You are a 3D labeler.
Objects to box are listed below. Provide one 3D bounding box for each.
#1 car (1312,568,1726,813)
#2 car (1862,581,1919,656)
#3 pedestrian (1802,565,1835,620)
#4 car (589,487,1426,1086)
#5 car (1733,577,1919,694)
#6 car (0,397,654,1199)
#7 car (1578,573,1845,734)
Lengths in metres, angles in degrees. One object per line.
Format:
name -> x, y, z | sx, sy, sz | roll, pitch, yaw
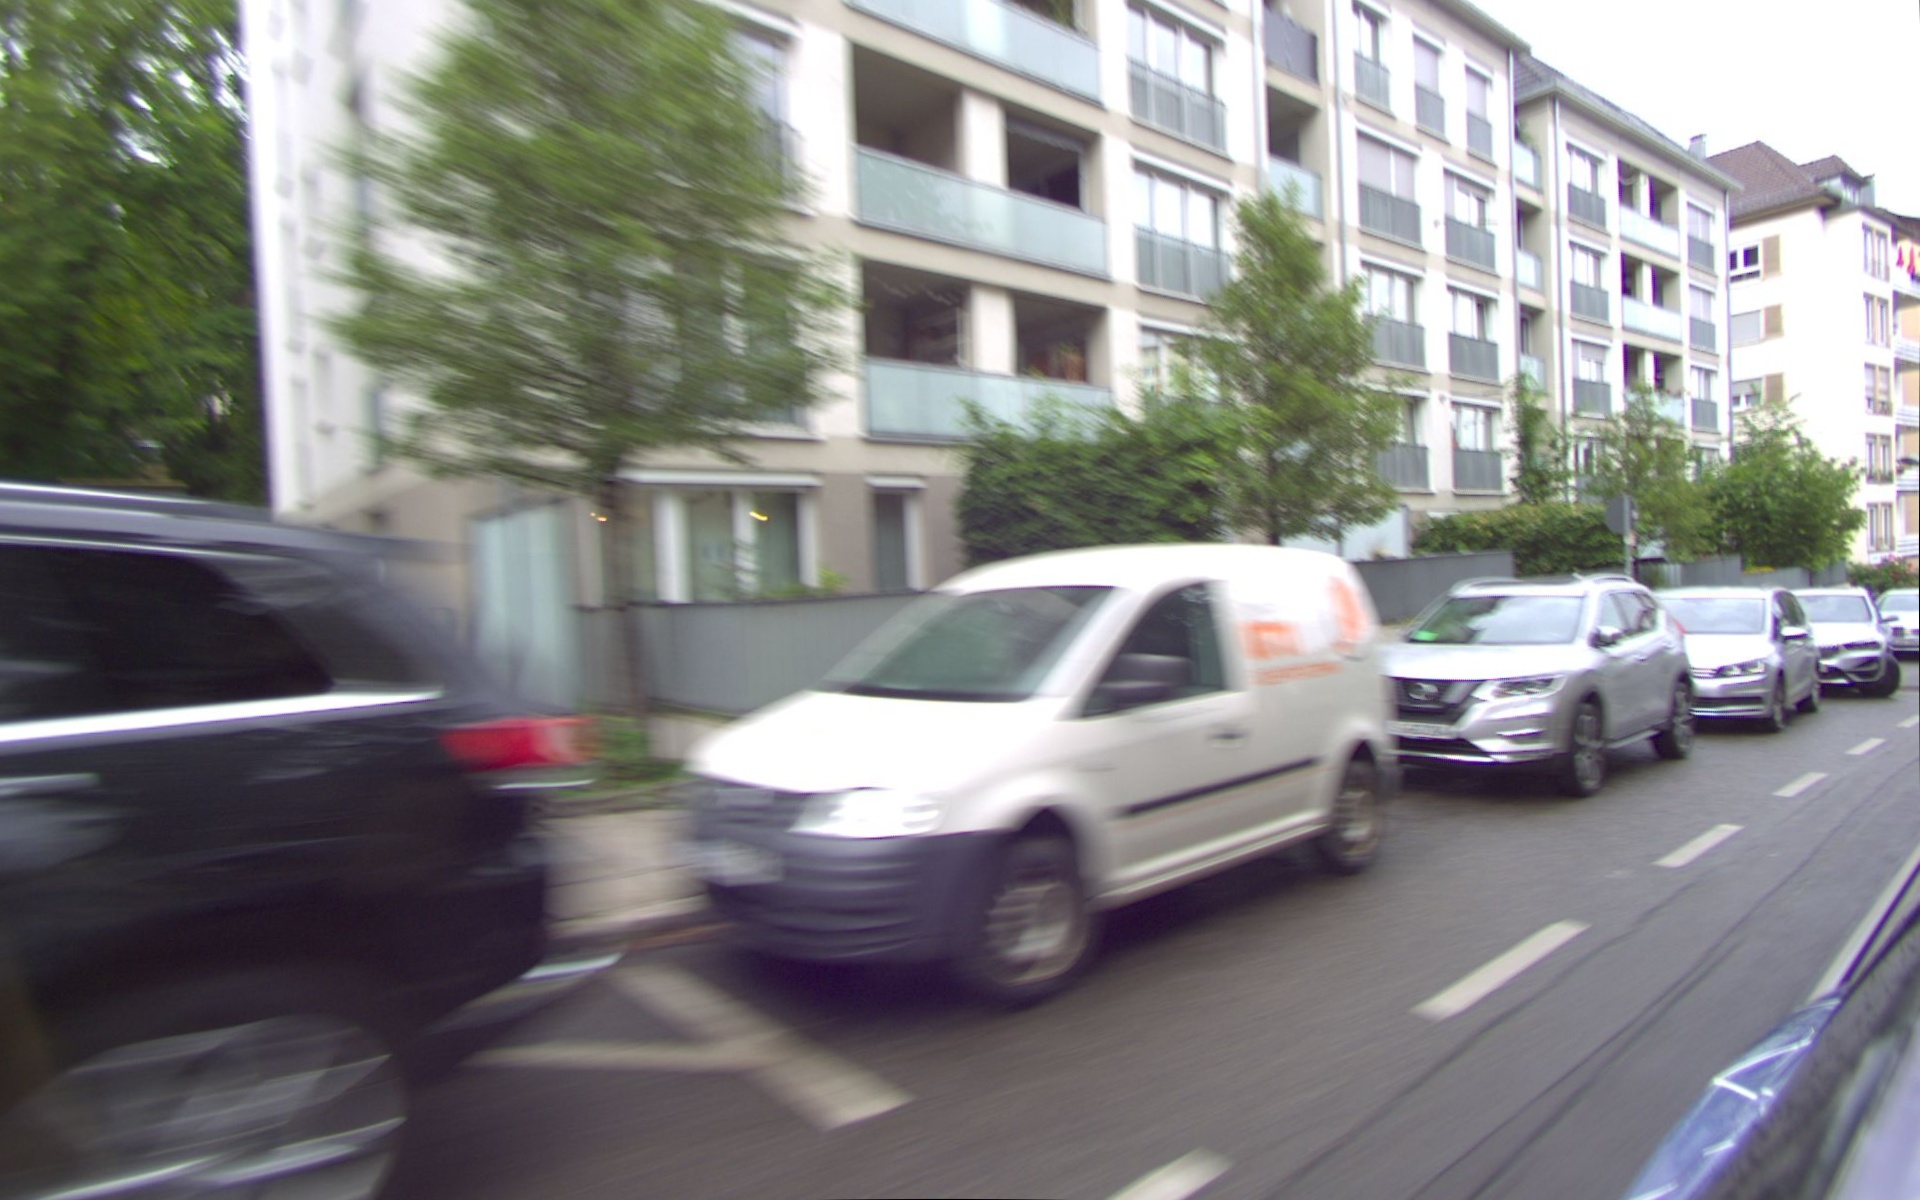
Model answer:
car -> 5.237, 0.588, 9.171 | 4.606, 1.677, 1.835 | -1, 0, -42
car -> 21.476, 0.345, 22.125 | 4.703, 1.535, 1.862 | -1, 0, -39
pedestrian -> 25.426, -0.222, 29.982 | 0.575, 1.606, 0.566 | 1, 1, 21
car -> 0.594, 0.556, 5.241 | 4.396, 1.818, 1.780 | 0, 0, -43
car -> 13.948, 0.466, 16.185 | 1.975, 1.605, 4.493 | -1, 0, 44
car -> -3.183, 0.585, 1.708 | 4.742, 1.818, 1.943 | -1, -1, -44
car -> 9.498, 0.532, 12.637 | 4.585, 1.648, 1.834 | -1, 0, -43
